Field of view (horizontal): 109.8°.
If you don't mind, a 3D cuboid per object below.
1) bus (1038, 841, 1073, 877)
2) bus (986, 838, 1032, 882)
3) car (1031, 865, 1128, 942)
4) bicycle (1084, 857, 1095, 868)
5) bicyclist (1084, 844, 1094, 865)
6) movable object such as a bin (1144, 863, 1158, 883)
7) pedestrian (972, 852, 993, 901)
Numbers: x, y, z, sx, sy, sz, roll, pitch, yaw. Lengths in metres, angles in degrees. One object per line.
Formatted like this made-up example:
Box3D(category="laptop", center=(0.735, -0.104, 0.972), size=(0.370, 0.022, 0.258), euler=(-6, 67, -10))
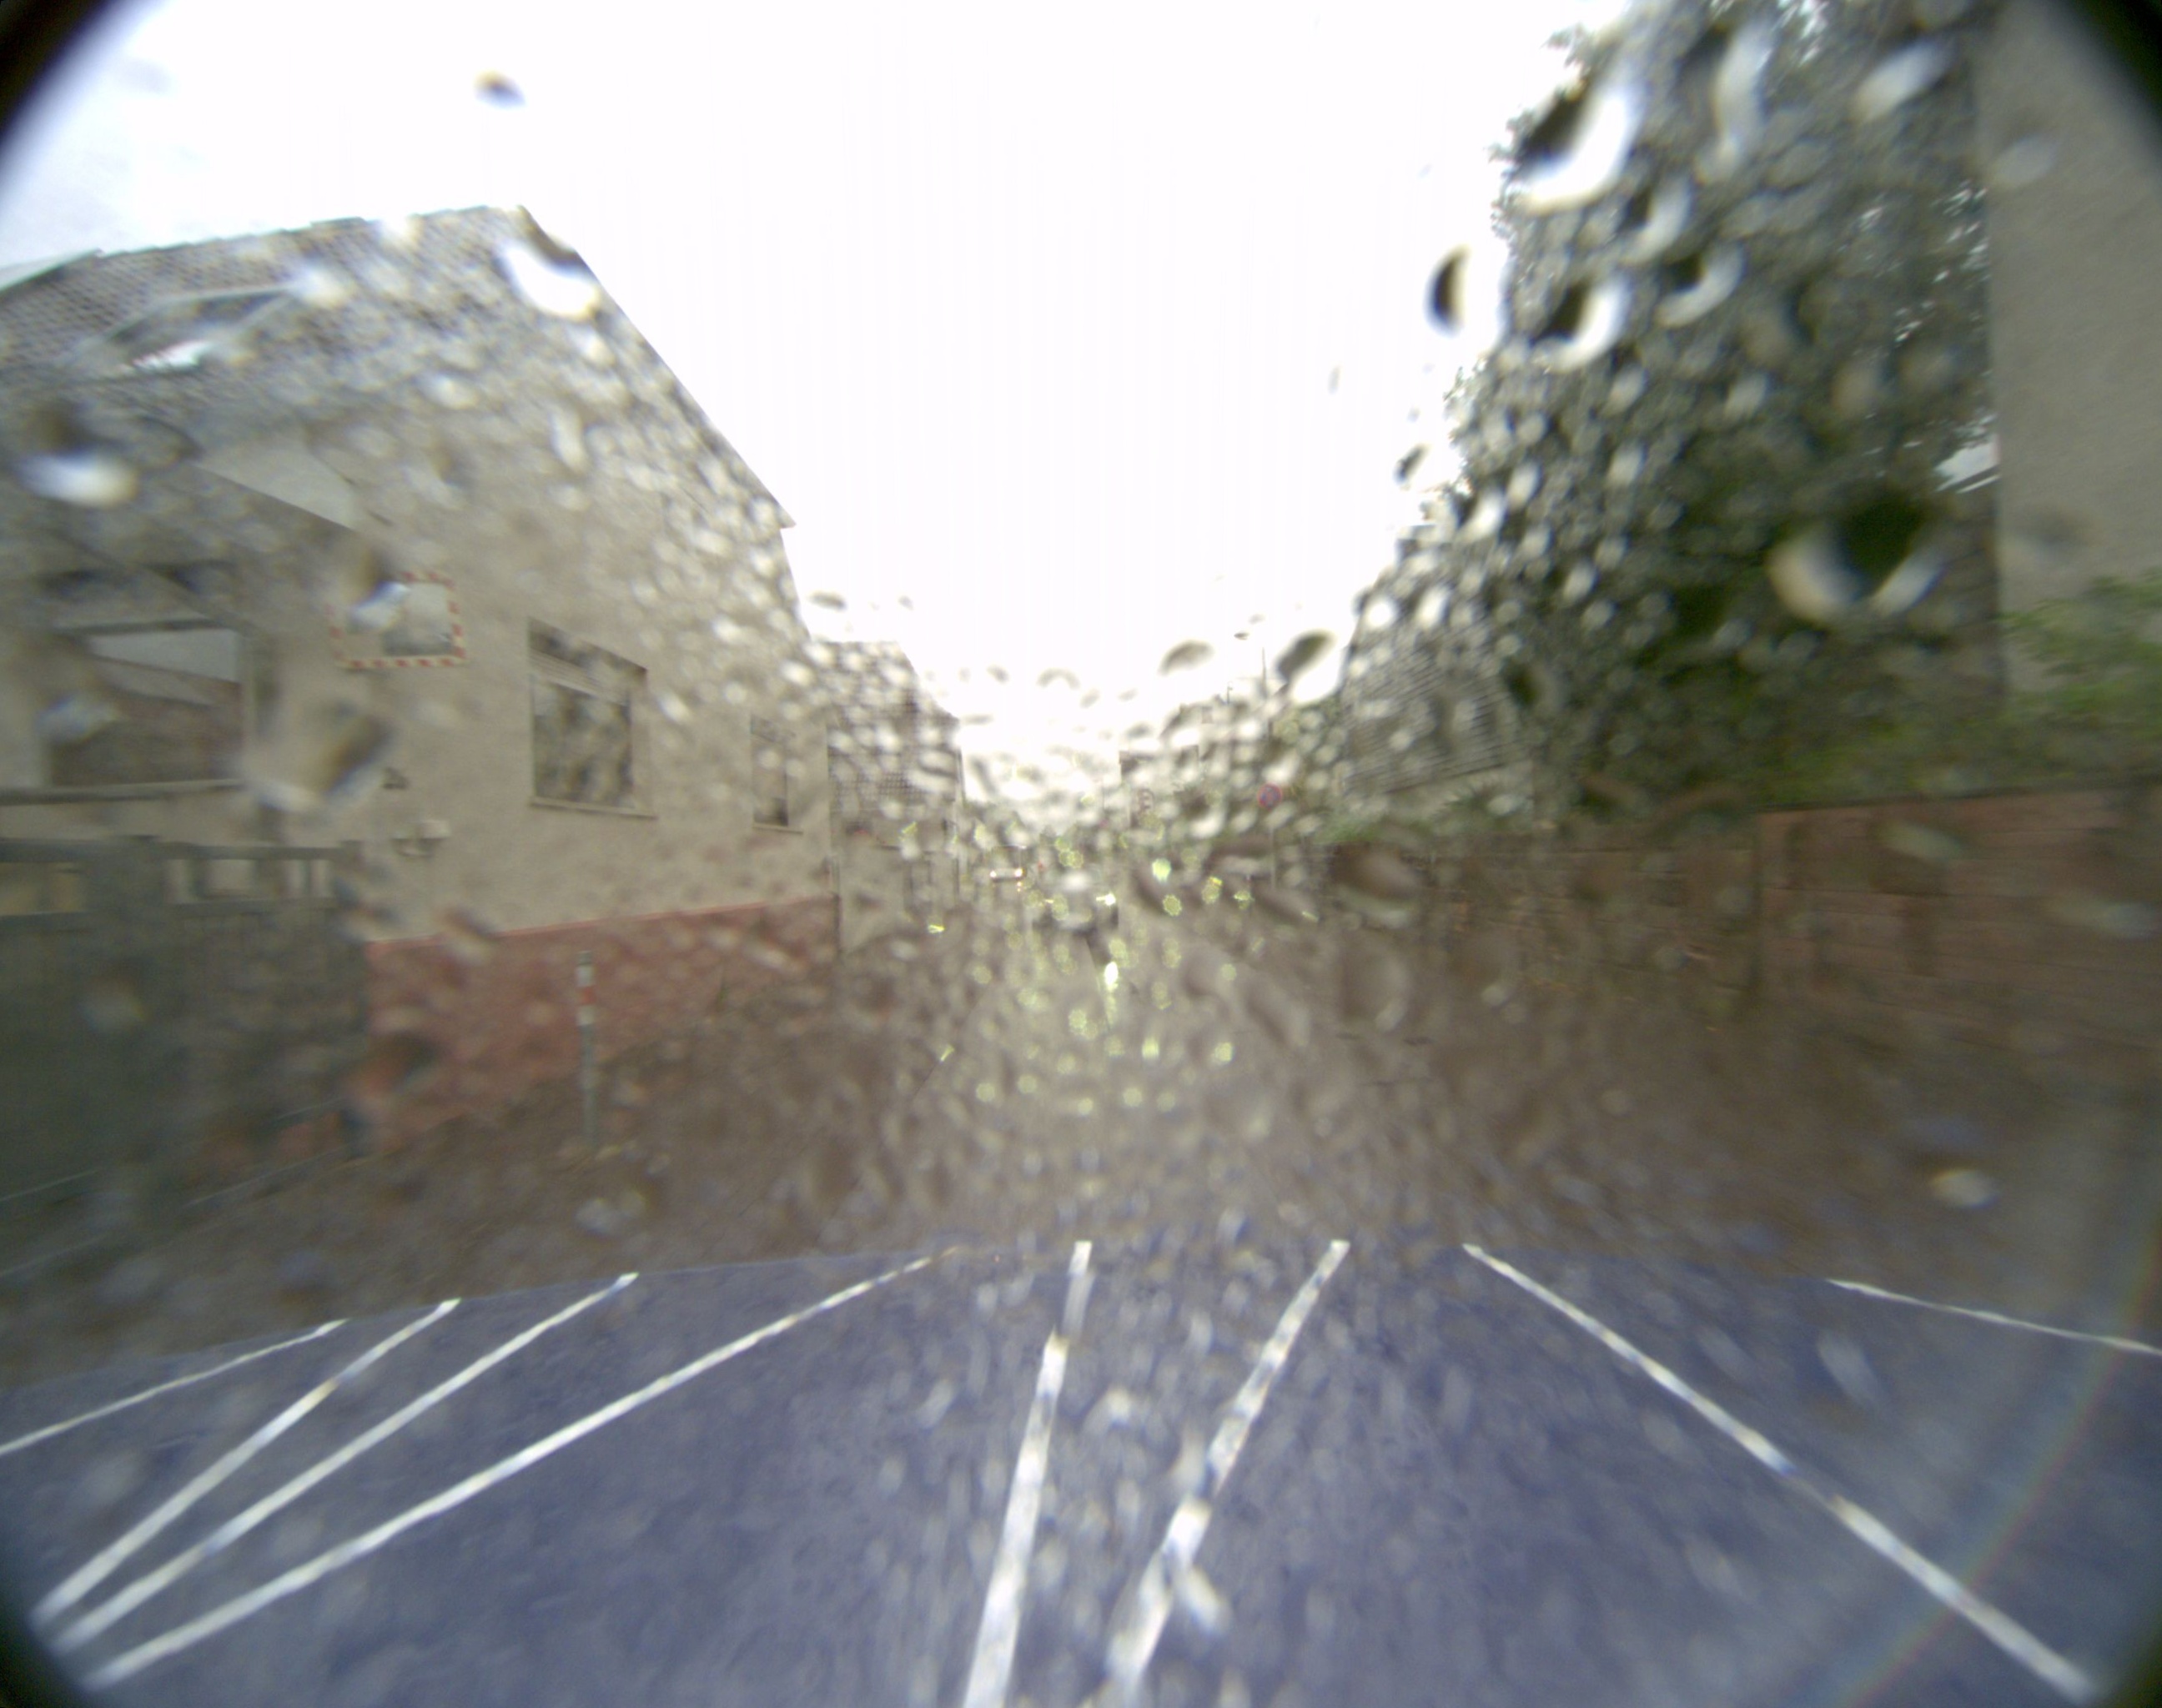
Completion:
Box3D(category="bus", center=(-2.280, 0.436, 71.118), size=(2.814, 2.922, 11.939), euler=(-4, 0, -1))
Box3D(category="bus", center=(-6.221, 0.491, 67.300), size=(3.442, 3.391, 13.865), euler=(-3, 0, -4))
Box3D(category="car", center=(-0.165, 1.003, 17.051), size=(1.781, 1.348, 4.186), euler=(-2, 1, -5))
Box3D(category="bicycle", center=(0.752, 0.734, 65.944), size=(0.663, 0.865, 1.934), euler=(-4, -2, -6))
Box3D(category="bicyclist", center=(0.693, 0.054, 65.925), size=(0.658, 1.759, 0.703), euler=(-4, -1, -6))
Box3D(category="movable object such as a bin", center=(3.382, 0.919, 36.749), size=(0.539, 0.925, 0.544), euler=(-4, 1, -8))
Box3D(category="pedestrian", center=(-3.588, 0.819, 27.720), size=(0.696, 1.722, 0.820), euler=(-2, 1, -6))
